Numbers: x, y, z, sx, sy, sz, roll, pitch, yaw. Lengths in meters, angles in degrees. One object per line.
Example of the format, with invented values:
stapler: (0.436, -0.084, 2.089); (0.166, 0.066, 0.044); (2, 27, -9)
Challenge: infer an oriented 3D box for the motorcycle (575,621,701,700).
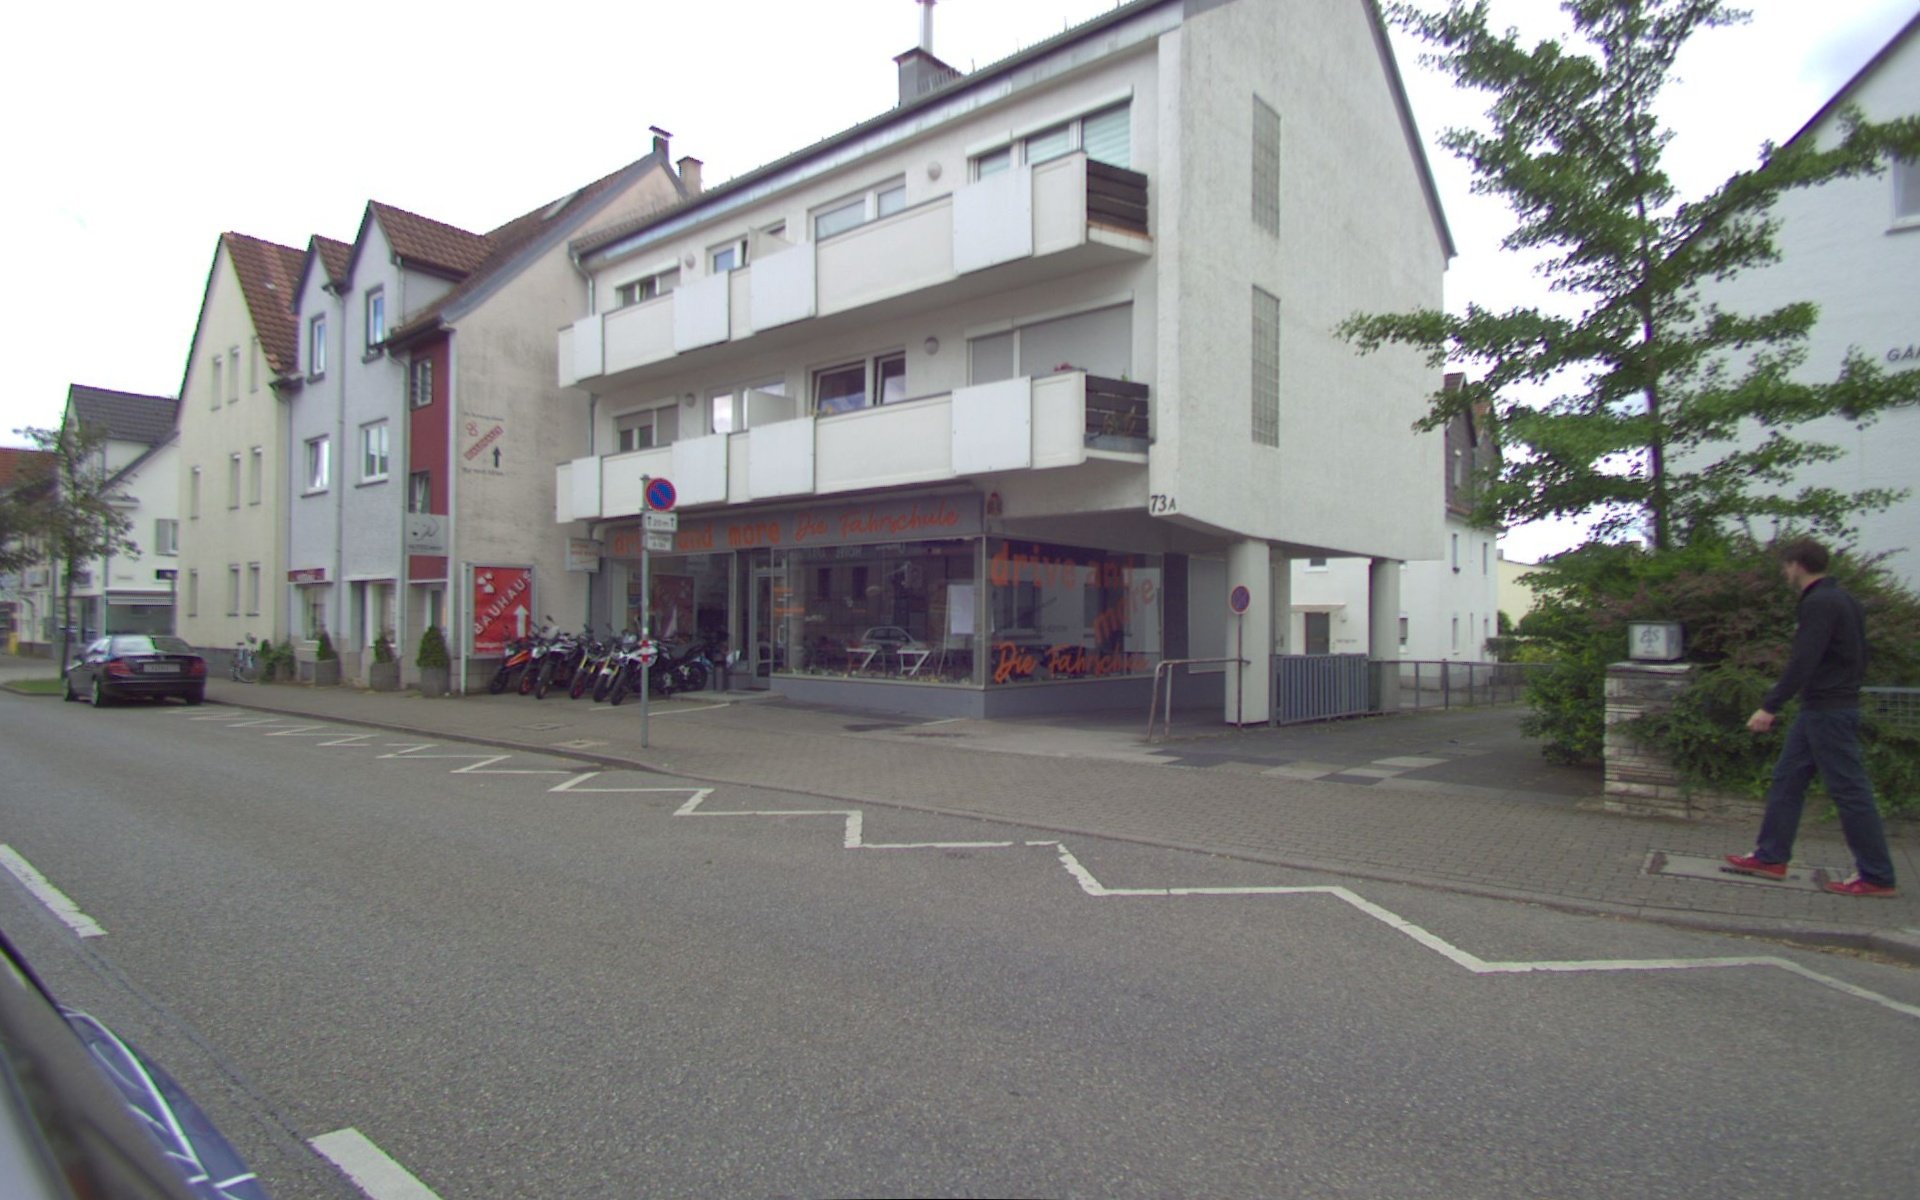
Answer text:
motorcycle: (-5.837, 1.067, 18.487); (0.612, 1.275, 2.204); (-1, 1, 38)

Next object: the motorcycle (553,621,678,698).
motorcycle: (-6.418, 1.079, 18.981); (0.612, 1.275, 2.204); (-1, 1, 38)

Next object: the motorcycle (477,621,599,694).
motorcycle: (-8.405, 1.114, 20.238); (0.612, 1.275, 2.204); (-1, 1, 38)

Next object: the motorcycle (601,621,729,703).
motorcycle: (-5.179, 1.054, 17.899); (0.612, 1.275, 2.204); (-1, 1, 38)

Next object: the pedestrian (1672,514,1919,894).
pedestrian: (4.571, 0.501, 5.534); (1.019, 1.863, 0.744); (-1, 2, 40)

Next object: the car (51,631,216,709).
car: (-17.173, 1.374, 20.970); (4.336, 1.428, 1.770); (-1, -3, 39)

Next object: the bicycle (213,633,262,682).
bicycle: (-18.610, 1.456, 26.040); (2.021, 1.205, 0.509); (-1, -1, 39)

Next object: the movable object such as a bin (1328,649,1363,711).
movable object such as a bin: (6.775, 1.392, 17.793); (0.441, 1.065, 0.483); (-2, -4, 39)

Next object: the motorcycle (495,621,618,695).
motorcycle: (-7.850, 1.103, 19.811); (0.612, 1.275, 2.204); (-1, 1, 38)

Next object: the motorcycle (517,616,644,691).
motorcycle: (-7.215, 0.987, 19.345); (0.698, 1.275, 2.204); (-1, 1, 38)
